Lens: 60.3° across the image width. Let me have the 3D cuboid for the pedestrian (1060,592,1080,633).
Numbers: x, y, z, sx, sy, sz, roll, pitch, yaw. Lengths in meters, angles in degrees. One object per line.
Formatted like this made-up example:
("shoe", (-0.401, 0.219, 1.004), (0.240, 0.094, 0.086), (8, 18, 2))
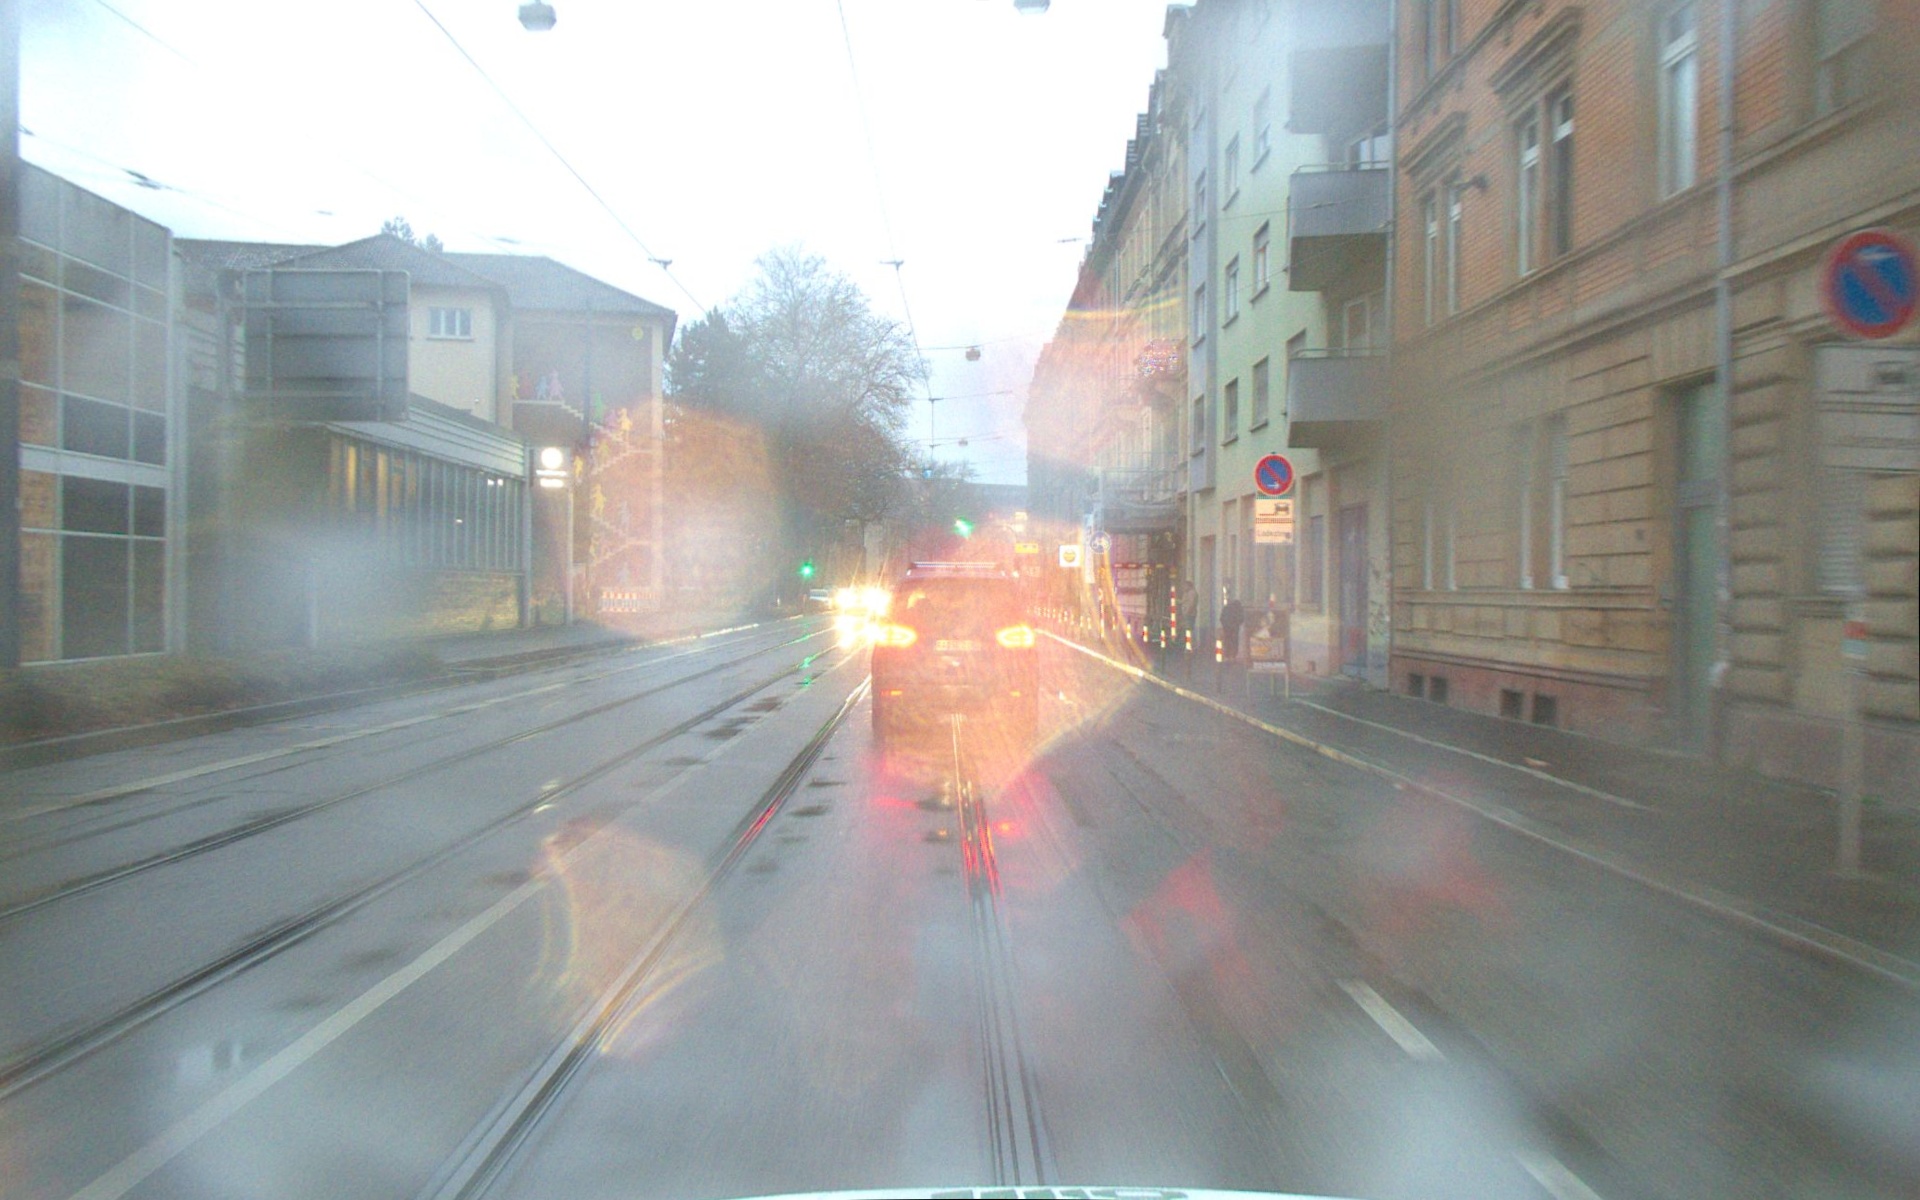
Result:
("pedestrian", (4.737, 0.546, 71.197), (0.817, 1.731, 0.954), (0, 0, 8))

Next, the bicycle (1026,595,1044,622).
("bicycle", (3.342, 0.387, 74.111), (0.670, 1.176, 2.188), (0, 0, 0))

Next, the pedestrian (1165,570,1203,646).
("pedestrian", (5.507, 0.185, 40.676), (0.592, 1.850, 0.769), (1, 0, -28))

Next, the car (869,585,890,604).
("car", (-6.208, -0.432, 127.664), (1.499, 1.507, 3.561), (0, 0, 0))

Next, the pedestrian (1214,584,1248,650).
("pedestrian", (5.755, 0.358, 35.154), (0.587, 1.401, 0.728), (0, 0, -1))

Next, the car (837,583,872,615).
("car", (-6.094, -0.084, 95.876), (1.837, 1.739, 4.759), (-1, 0, -1))

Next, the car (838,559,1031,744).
("car", (-0.184, 0.513, 18.718), (1.952, 1.874, 4.001), (0, 0, 2))
